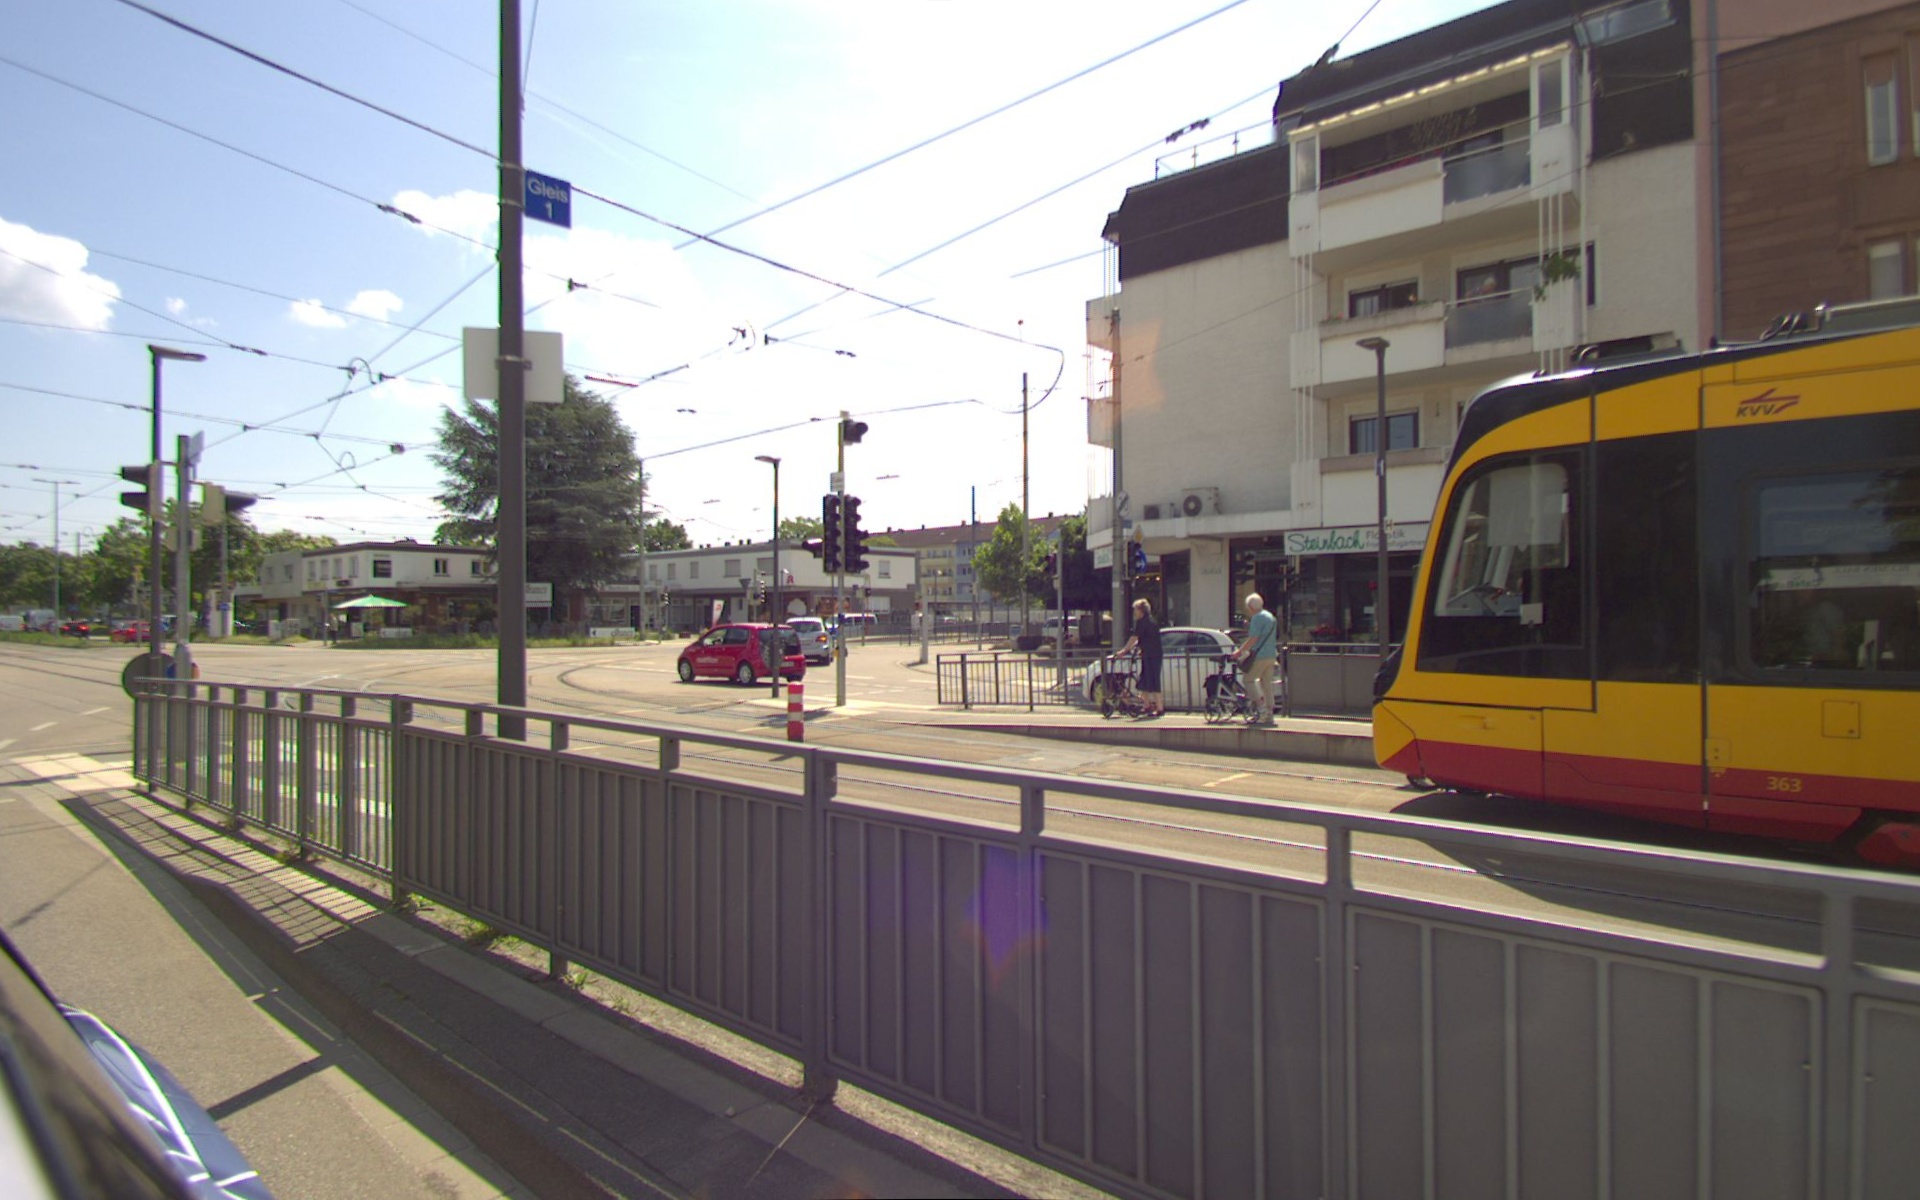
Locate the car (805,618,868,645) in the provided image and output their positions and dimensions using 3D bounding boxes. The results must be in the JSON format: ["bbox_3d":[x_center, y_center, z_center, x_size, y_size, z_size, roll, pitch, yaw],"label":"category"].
[{"bbox_3d":[-8.353,2.108,68.614,1.998,1.741,3.947,-1,-2,39],"label":"car"}]

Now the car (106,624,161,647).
[{"bbox_3d":[-54.289,2.287,66.443,4.819,1.461,1.973,-1,-2,41],"label":"car"}]

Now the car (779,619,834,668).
[{"bbox_3d":[-5.322,1.483,35.576,1.714,1.628,4.611,0,-1,-6],"label":"car"}]

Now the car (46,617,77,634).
[{"bbox_3d":[-91.942,2.604,103.526,3.996,1.608,1.723,-1,-2,39],"label":"car"}]

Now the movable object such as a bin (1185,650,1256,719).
[{"bbox_3d":[3.166,1.007,12.308,0.619,0.786,0.668,-1,-2,38],"label":"movable object such as a bin"}]

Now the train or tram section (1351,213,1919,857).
[{"bbox_3d":[11.791,-0.387,2.270,20.486,3.594,3.217,0,-1,40],"label":"train or tram section"}]

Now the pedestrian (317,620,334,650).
[{"bbox_3d":[-39.271,2.146,62.620,0.679,1.788,0.485,0,3,21],"label":"pedestrian"}]

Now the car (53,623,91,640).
[{"bbox_3d":[-70.800,2.499,80.676,3.997,1.364,1.761,-1,-2,40],"label":"car"}]

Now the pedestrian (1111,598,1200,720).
[{"bbox_3d":[2.657,0.778,13.739,0.919,1.572,0.777,-1,-2,40],"label":"pedestrian"}]

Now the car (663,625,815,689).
[{"bbox_3d":[-5.443,1.330,24.730,3.851,1.456,1.638,-1,-2,41],"label":"car"}]

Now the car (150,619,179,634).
[{"bbox_3d":[-88.207,2.934,112.236,3.996,1.706,1.723,-1,-2,39],"label":"car"}]

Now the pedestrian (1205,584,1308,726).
[{"bbox_3d":[3.459,0.623,11.790,0.919,1.572,0.777,-1,-2,40],"label":"pedestrian"}]

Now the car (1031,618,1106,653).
[{"bbox_3d":[6.011,1.956,55.584,1.997,1.853,4.761,-2,-2,37],"label":"car"}]

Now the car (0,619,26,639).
[{"bbox_3d":[-92.800,2.801,98.625,4.547,1.890,1.841,-1,-2,37],"label":"car"}]

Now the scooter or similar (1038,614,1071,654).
[{"bbox_3d":[4.510,1.586,48.003,0.616,1.860,1.988,-1,-2,37],"label":"scooter or similar"}]

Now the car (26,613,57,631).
[{"bbox_3d":[-101.209,2.427,111.486,3.996,1.980,1.942,-1,-2,39],"label":"car"}]

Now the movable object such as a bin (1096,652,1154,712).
[{"bbox_3d":[2.277,1.119,13.960,0.537,0.786,0.668,-1,-2,38],"label":"movable object such as a bin"}]

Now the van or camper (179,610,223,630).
[{"bbox_3d":[-118.129,3.126,157.503,2.245,3.141,5.093,-1,-2,40],"label":"van or camper"}]

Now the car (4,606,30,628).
[{"bbox_3d":[-112.692,2.029,120.938,3.996,2.608,1.723,-1,-2,39],"label":"car"}]

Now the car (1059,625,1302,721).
[{"bbox_3d":[3.713,1.182,17.371,3.788,1.467,1.633,-1,-3,42],"label":"car"}]
